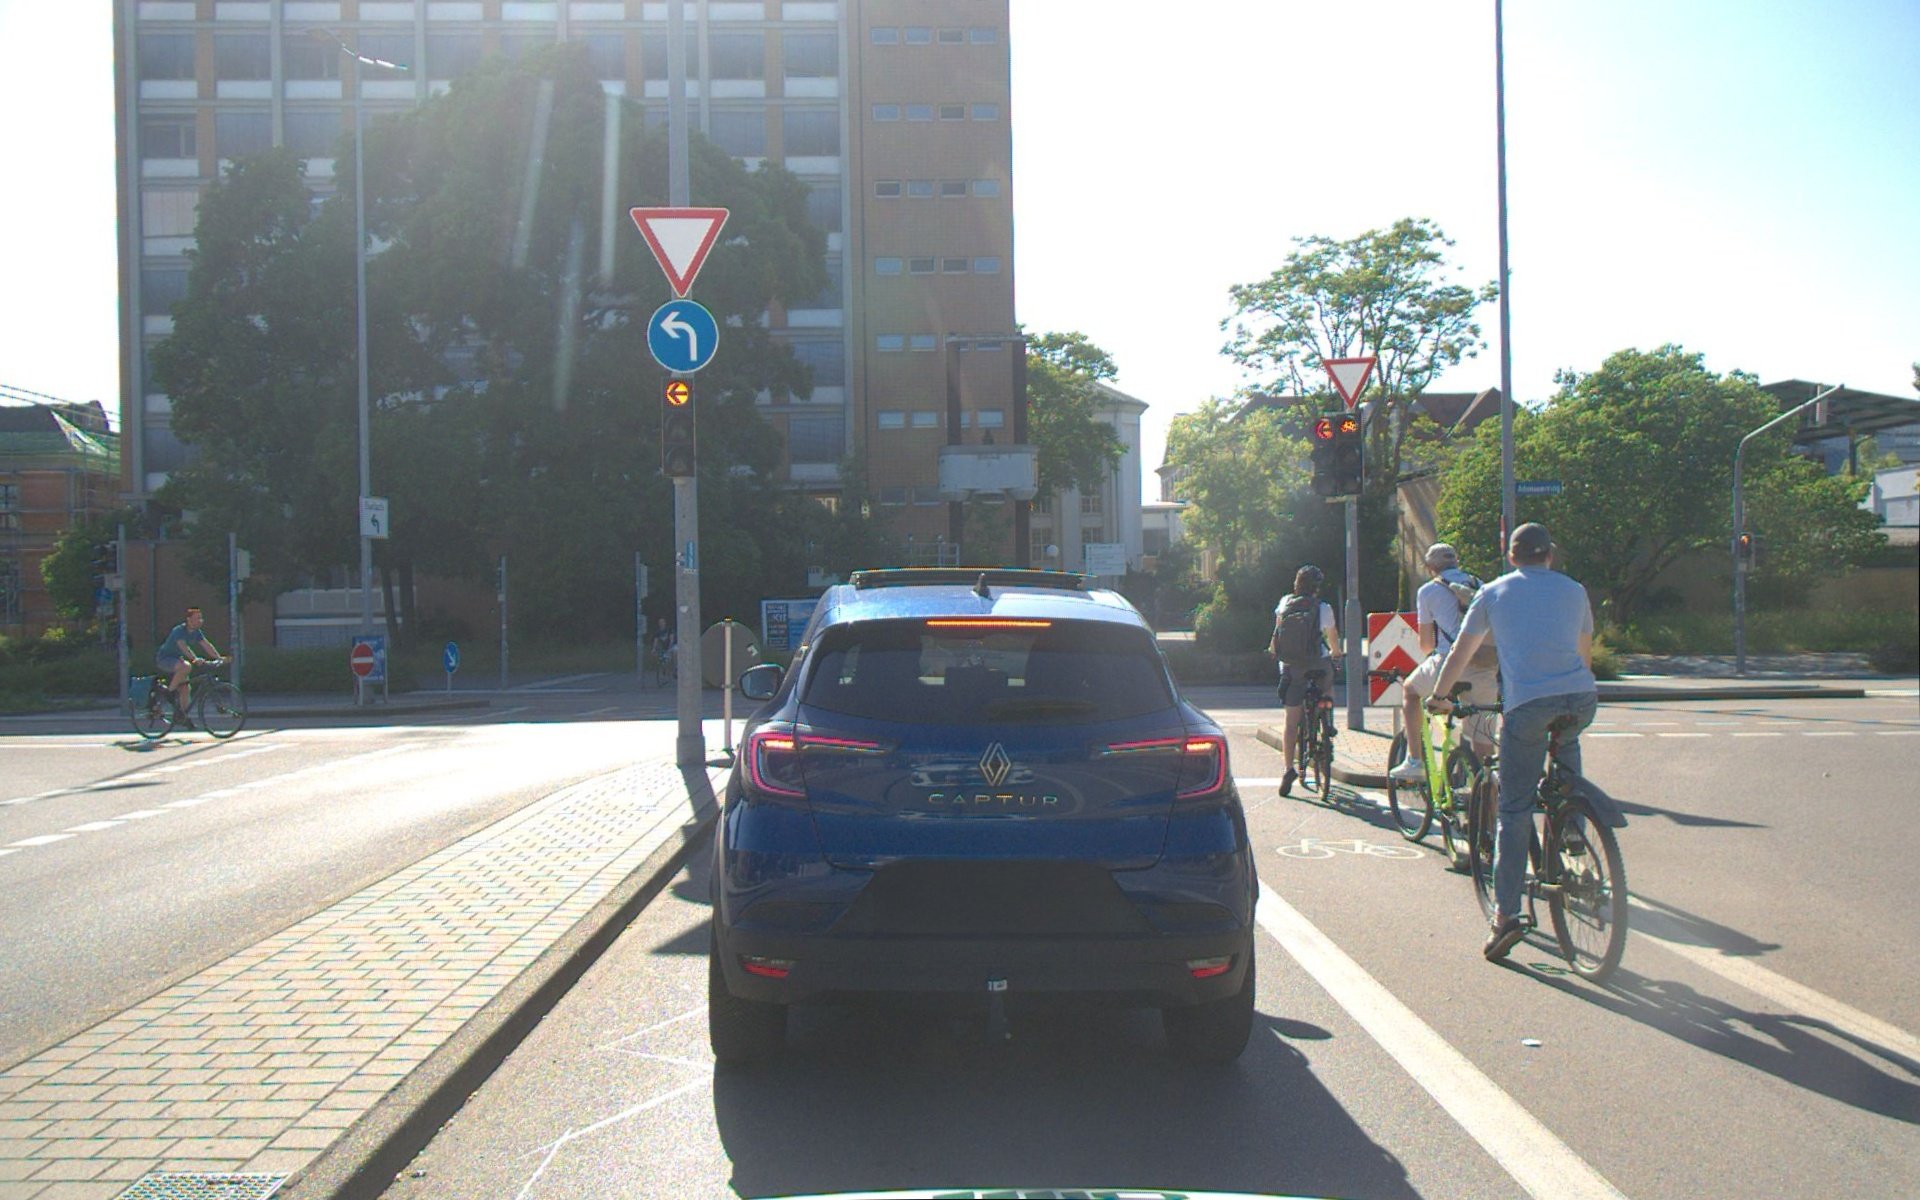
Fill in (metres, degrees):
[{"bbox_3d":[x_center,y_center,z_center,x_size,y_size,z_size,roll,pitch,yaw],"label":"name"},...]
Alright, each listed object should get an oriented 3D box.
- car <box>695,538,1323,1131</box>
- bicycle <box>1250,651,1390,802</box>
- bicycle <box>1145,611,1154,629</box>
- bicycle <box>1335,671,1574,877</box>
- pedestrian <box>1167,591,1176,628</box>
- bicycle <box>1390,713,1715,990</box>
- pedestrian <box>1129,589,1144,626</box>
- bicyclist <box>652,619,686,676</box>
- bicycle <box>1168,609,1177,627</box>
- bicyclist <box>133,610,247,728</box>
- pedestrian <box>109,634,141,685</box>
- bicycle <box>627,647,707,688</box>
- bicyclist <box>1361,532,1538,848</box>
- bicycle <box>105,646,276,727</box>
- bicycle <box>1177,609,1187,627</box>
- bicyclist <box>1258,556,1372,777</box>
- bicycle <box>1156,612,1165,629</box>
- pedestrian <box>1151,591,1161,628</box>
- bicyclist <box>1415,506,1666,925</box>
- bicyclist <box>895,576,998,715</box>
[{"bbox_3d":[0.065,0.667,6.677,1.767,1.660,3.998,1,0,-3],"label":"car"},{"bbox_3d":[2.765,0.935,12.919,0.723,1.012,2.174,1,0,3],"label":"bicycle"},{"bbox_3d":[10.799,1.149,94.218,0.397,0.990,1.684,1,0,3],"label":"bicycle"},{"bbox_3d":[2.875,0.977,9.840,0.646,1.020,1.967,1,0,-6],"label":"bicycle"},{"bbox_3d":[11.832,0.543,92.558,0.465,2.049,0.468,-1,0,5],"label":"pedestrian"},{"bbox_3d":[2.507,1.023,7.269,0.725,0.911,1.978,1,0,0],"label":"bicycle"},{"bbox_3d":[9.983,0.410,93.518,0.841,2.049,0.468,-1,0,5],"label":"pedestrian"},{"bbox_3d":[-7.667,1.241,43.641,0.728,1.466,0.593,-1,0,-27],"label":"bicyclist"},{"bbox_3d":[12.160,1.027,94.563,0.397,0.990,1.684,1,0,3],"label":"bicycle"},{"bbox_3d":[-9.994,0.887,21.480,1.100,1.447,0.688,-3,-1,10],"label":"bicyclist"},{"bbox_3d":[-27.185,1.934,53.845,0.722,1.631,0.598,-1,0,22],"label":"pedestrian"},{"bbox_3d":[-7.715,1.765,43.614,1.982,0.981,0.593,-1,0,-28],"label":"bicycle"},{"bbox_3d":[2.887,0.509,9.837,0.633,1.769,1.065,1,0,-6],"label":"bicyclist"},{"bbox_3d":[-9.983,1.119,21.472,1.942,0.934,0.688,-3,-1,11],"label":"bicycle"},{"bbox_3d":[12.685,1.037,94.585,0.397,0.990,1.684,1,0,3],"label":"bicycle"},{"bbox_3d":[2.764,0.501,12.970,0.711,1.657,0.969,1,0,3],"label":"bicyclist"},{"bbox_3d":[11.408,1.159,94.184,0.397,0.990,1.684,1,0,3],"label":"bicycle"},{"bbox_3d":[10.801,0.520,91.191,0.465,2.049,0.523,-1,0,5],"label":"pedestrian"},{"bbox_3d":[2.512,0.472,7.266,0.736,1.698,1.016,1,0,0],"label":"bicyclist"},{"bbox_3d":[-0.146,0.522,19.113,1.046,1.526,0.742,-3,-1,5],"label":"bicyclist"}]
